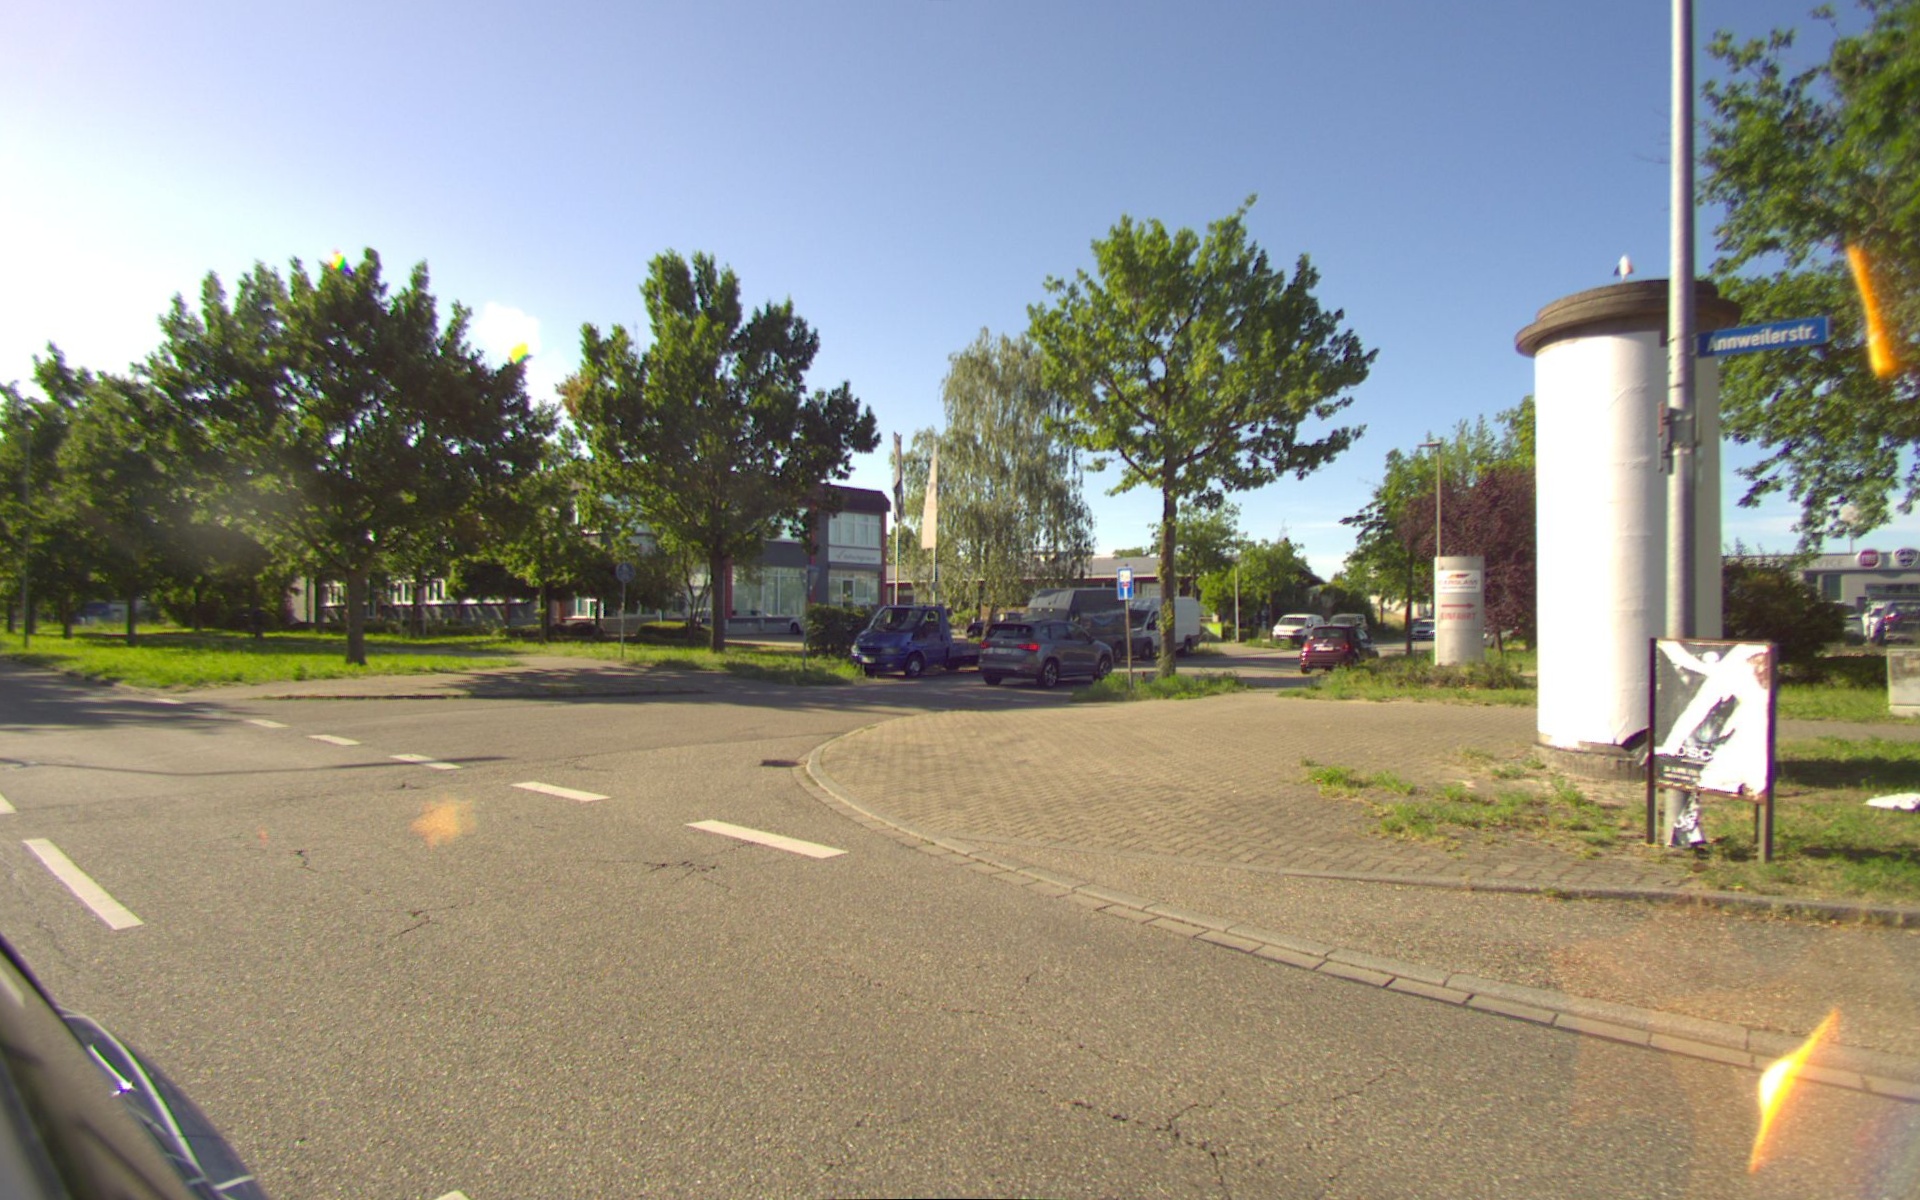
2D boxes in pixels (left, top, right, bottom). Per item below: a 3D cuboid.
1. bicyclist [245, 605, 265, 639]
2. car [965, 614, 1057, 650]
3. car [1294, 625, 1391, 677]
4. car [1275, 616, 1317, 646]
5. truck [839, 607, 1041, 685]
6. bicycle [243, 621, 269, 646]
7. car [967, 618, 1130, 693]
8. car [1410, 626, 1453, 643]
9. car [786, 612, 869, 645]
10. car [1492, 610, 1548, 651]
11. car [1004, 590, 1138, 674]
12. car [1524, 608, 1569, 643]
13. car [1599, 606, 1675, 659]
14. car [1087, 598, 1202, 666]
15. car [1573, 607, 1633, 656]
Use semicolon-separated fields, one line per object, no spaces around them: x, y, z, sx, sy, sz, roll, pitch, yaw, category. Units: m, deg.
-34.570;1.068;49.653;0.658;1.641;0.657;0;1;41;bicyclist
2.537;1.556;50.673;4.294;1.505;1.974;2;2;39;car
11.928;1.534;31.433;1.821;1.493;4.154;-3;-3;35;car
18.810;1.720;56.555;1.506;1.585;3.108;-1;-1;33;car
-0.372;1.289;30.295;2.138;2.065;7.044;0;-1;37;truck
-34.570;1.634;49.674;2.333;1.170;0.545;0;1;42;bicycle
2.231;1.293;24.559;1.759;1.607;4.239;1;-1;42;car
34.302;2.491;73.642;3.723;1.114;1.621;1;-1;-45;car
-7.110;1.478;54.048;4.294;1.505;1.974;2;2;39;car
32.453;1.731;58.603;2.296;2.120;5.297;0;1;35;car
4.139;1.038;36.615;2.296;2.723;5.811;0;1;35;car
39.396;1.659;67.971;2.200;2.120;4.886;0;1;35;car
21.806;1.007;32.543;1.881;1.563;4.605;-1;-1;35;car
7.832;1.233;42.360;2.296;2.535;6.283;0;1;35;car
26.674;1.263;41.910;1.881;1.899;4.202;-1;-1;35;car
